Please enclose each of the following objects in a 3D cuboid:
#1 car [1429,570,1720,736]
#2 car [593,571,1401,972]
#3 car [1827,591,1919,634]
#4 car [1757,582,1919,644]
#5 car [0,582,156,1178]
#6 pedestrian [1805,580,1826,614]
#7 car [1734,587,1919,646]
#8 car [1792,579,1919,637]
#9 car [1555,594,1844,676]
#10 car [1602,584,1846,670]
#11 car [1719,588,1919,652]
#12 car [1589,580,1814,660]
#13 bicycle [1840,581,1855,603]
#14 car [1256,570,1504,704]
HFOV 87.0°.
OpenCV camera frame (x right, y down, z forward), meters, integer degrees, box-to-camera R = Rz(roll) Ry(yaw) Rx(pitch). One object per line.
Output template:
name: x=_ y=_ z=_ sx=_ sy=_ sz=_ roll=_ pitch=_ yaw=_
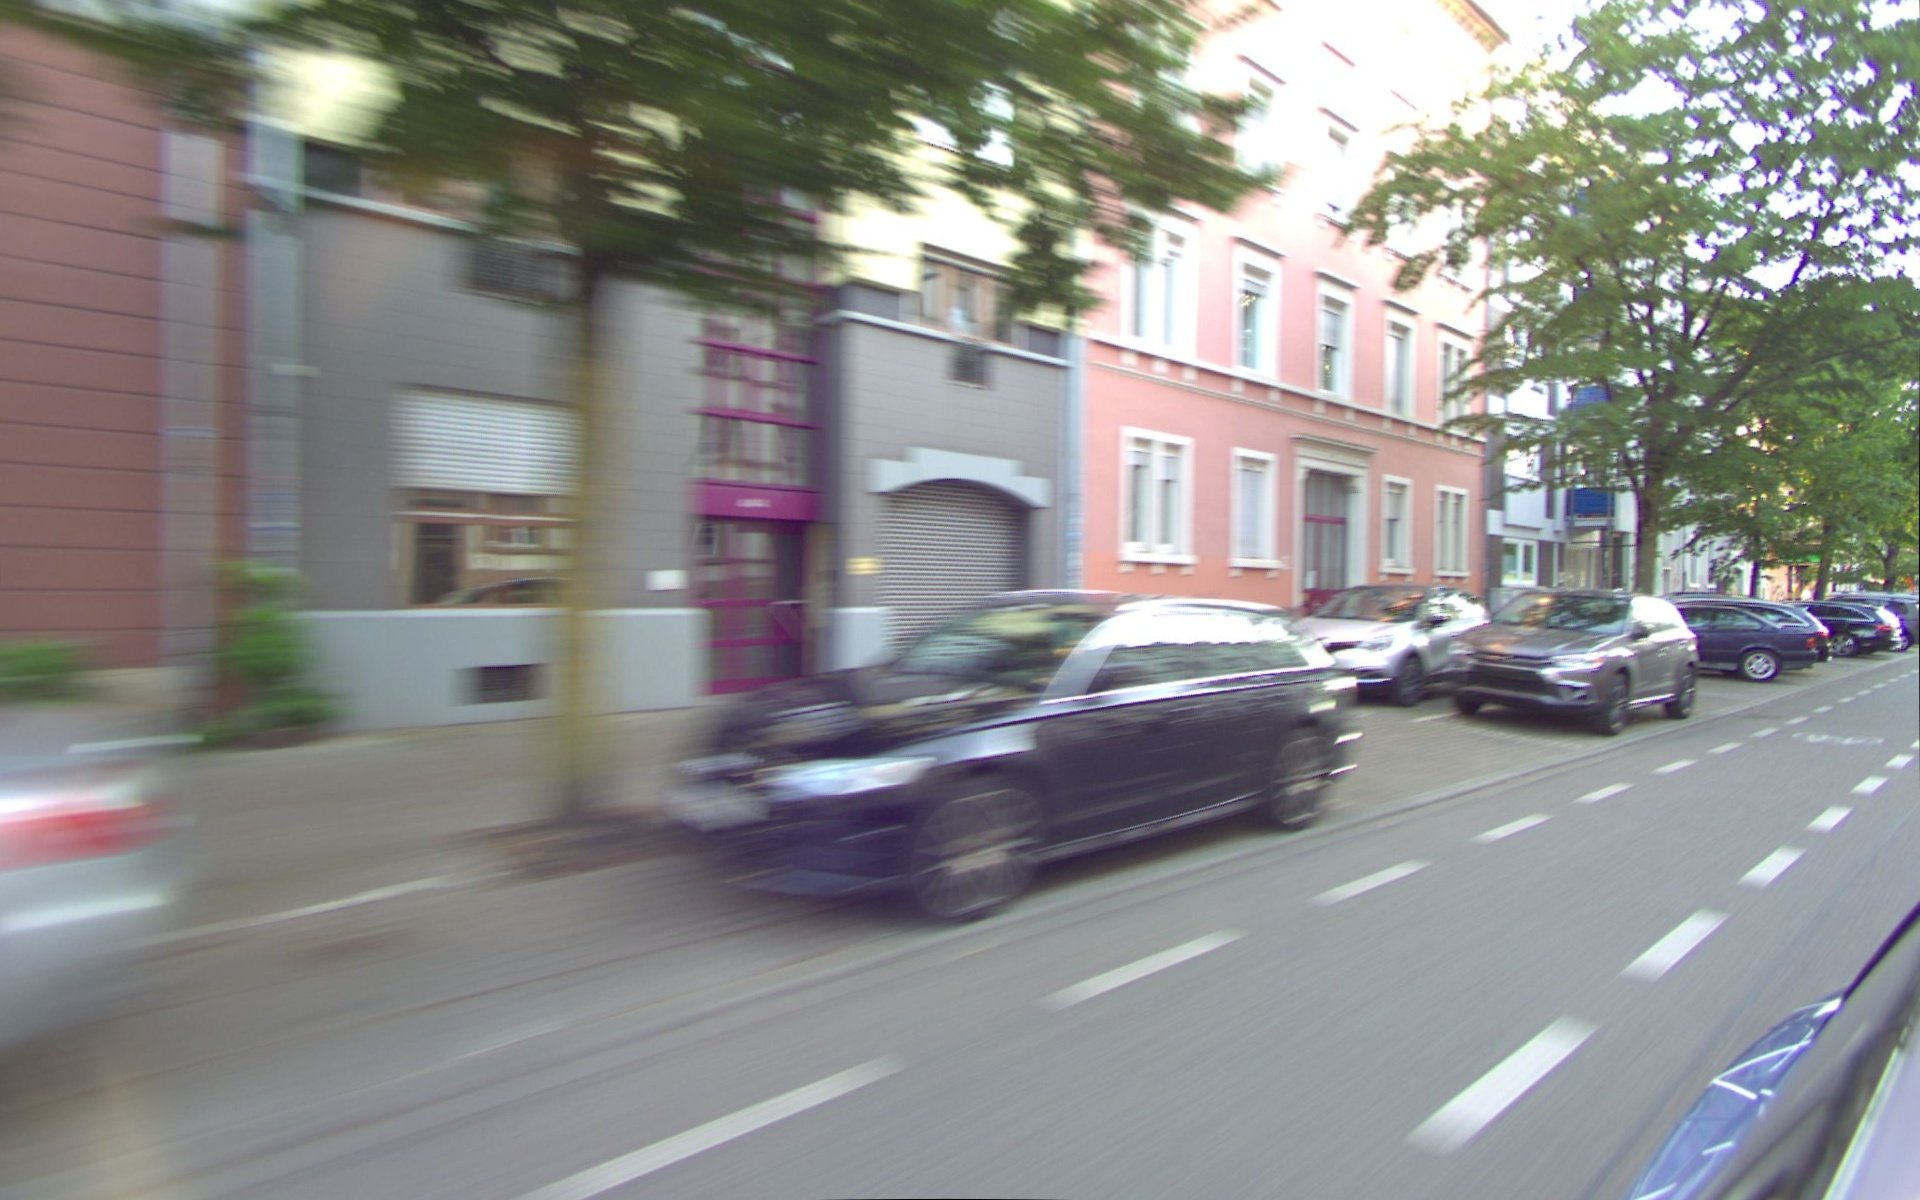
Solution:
car: x=7.710 y=0.521 z=12.544 sx=4.188 sy=1.637 sz=1.883 roll=0 pitch=3 yaw=-42
car: x=0.565 y=0.624 z=6.244 sx=4.947 sy=1.507 sz=1.997 roll=0 pitch=2 yaw=-41
car: x=35.820 y=0.466 z=38.557 sx=3.967 sy=1.560 sz=1.760 roll=1 pitch=1 yaw=30
car: x=27.647 y=0.375 z=31.459 sx=4.153 sy=1.717 sz=1.829 roll=2 pitch=1 yaw=27
car: x=-4.452 y=0.681 z=1.892 sx=4.606 sy=1.398 sz=1.785 roll=0 pitch=3 yaw=-39
pedestrian: x=47.869 y=-0.151 z=56.636 sx=0.600 sy=1.855 sz=0.561 roll=3 pitch=0 yaw=-4
car: x=24.933 y=0.442 z=29.157 sx=3.970 sy=1.482 sz=1.700 roll=2 pitch=1 yaw=32
car: x=31.592 y=0.282 z=35.039 sx=3.964 sy=1.838 sz=1.806 roll=3 pitch=1 yaw=29
car: x=14.064 y=0.614 z=19.564 sx=4.217 sy=1.405 sz=1.607 roll=1 pitch=1 yaw=24
car: x=16.050 y=0.527 z=21.538 sx=3.944 sy=1.573 sz=1.700 roll=2 pitch=0 yaw=32
car: x=23.254 y=0.487 z=27.250 sx=4.375 sy=1.482 sz=1.694 roll=3 pitch=2 yaw=42
car: x=17.075 y=0.414 z=23.573 sx=3.964 sy=1.613 sz=1.703 roll=2 pitch=0 yaw=29
bicycle: x=51.334 y=-0.466 z=58.541 sx=1.558 sy=1.226 sz=0.470 roll=0 pitch=0 yaw=-41
car: x=5.970 y=0.412 z=14.170 sx=1.880 sy=1.604 sz=3.956 roll=2 pitch=1 yaw=44
